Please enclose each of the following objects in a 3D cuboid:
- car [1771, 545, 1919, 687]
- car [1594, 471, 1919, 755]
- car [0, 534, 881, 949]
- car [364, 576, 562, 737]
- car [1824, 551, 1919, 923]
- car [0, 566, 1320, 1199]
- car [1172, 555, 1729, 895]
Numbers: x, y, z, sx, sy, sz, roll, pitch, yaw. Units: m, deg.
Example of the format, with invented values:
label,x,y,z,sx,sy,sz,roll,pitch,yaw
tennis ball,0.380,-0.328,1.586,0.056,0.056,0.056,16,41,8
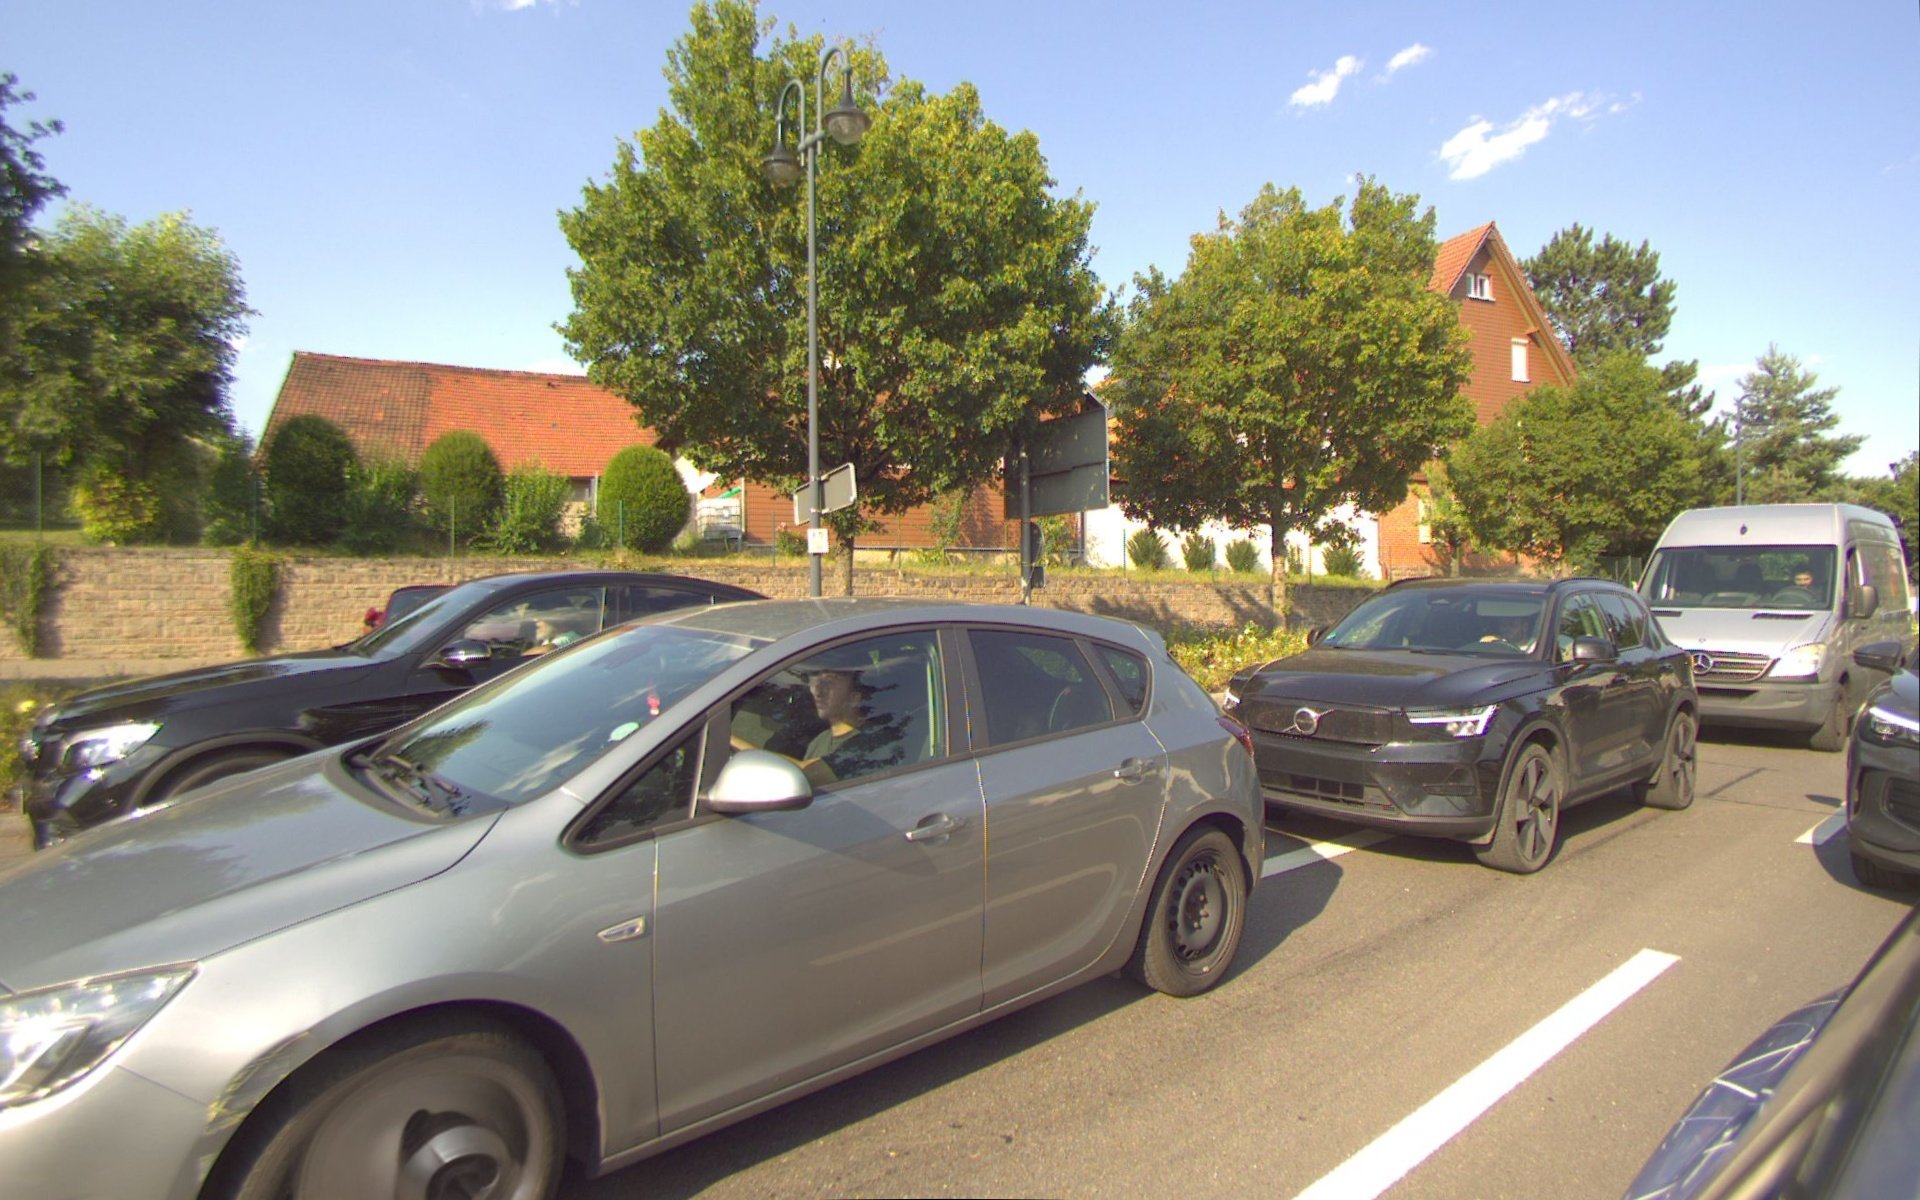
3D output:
label,x,y,z,sx,sy,sz,roll,pitch,yaw
car,15.070,0.201,16.675,4.242,2.055,1.844,0,2,-40
car,9.691,0.081,11.934,5.938,2.601,1.992,0,1,-40
car,-2.772,0.520,6.181,4.491,1.628,1.763,0,2,-45
car,-5.888,0.519,11.716,1.743,1.510,4.156,0,0,-31
car,6.223,0.613,5.339,4.242,1.629,1.844,0,2,-40
car,-0.698,0.662,3.391,4.244,1.471,1.765,0,2,-42
car,3.532,0.564,6.915,4.242,1.629,1.844,0,2,-40
